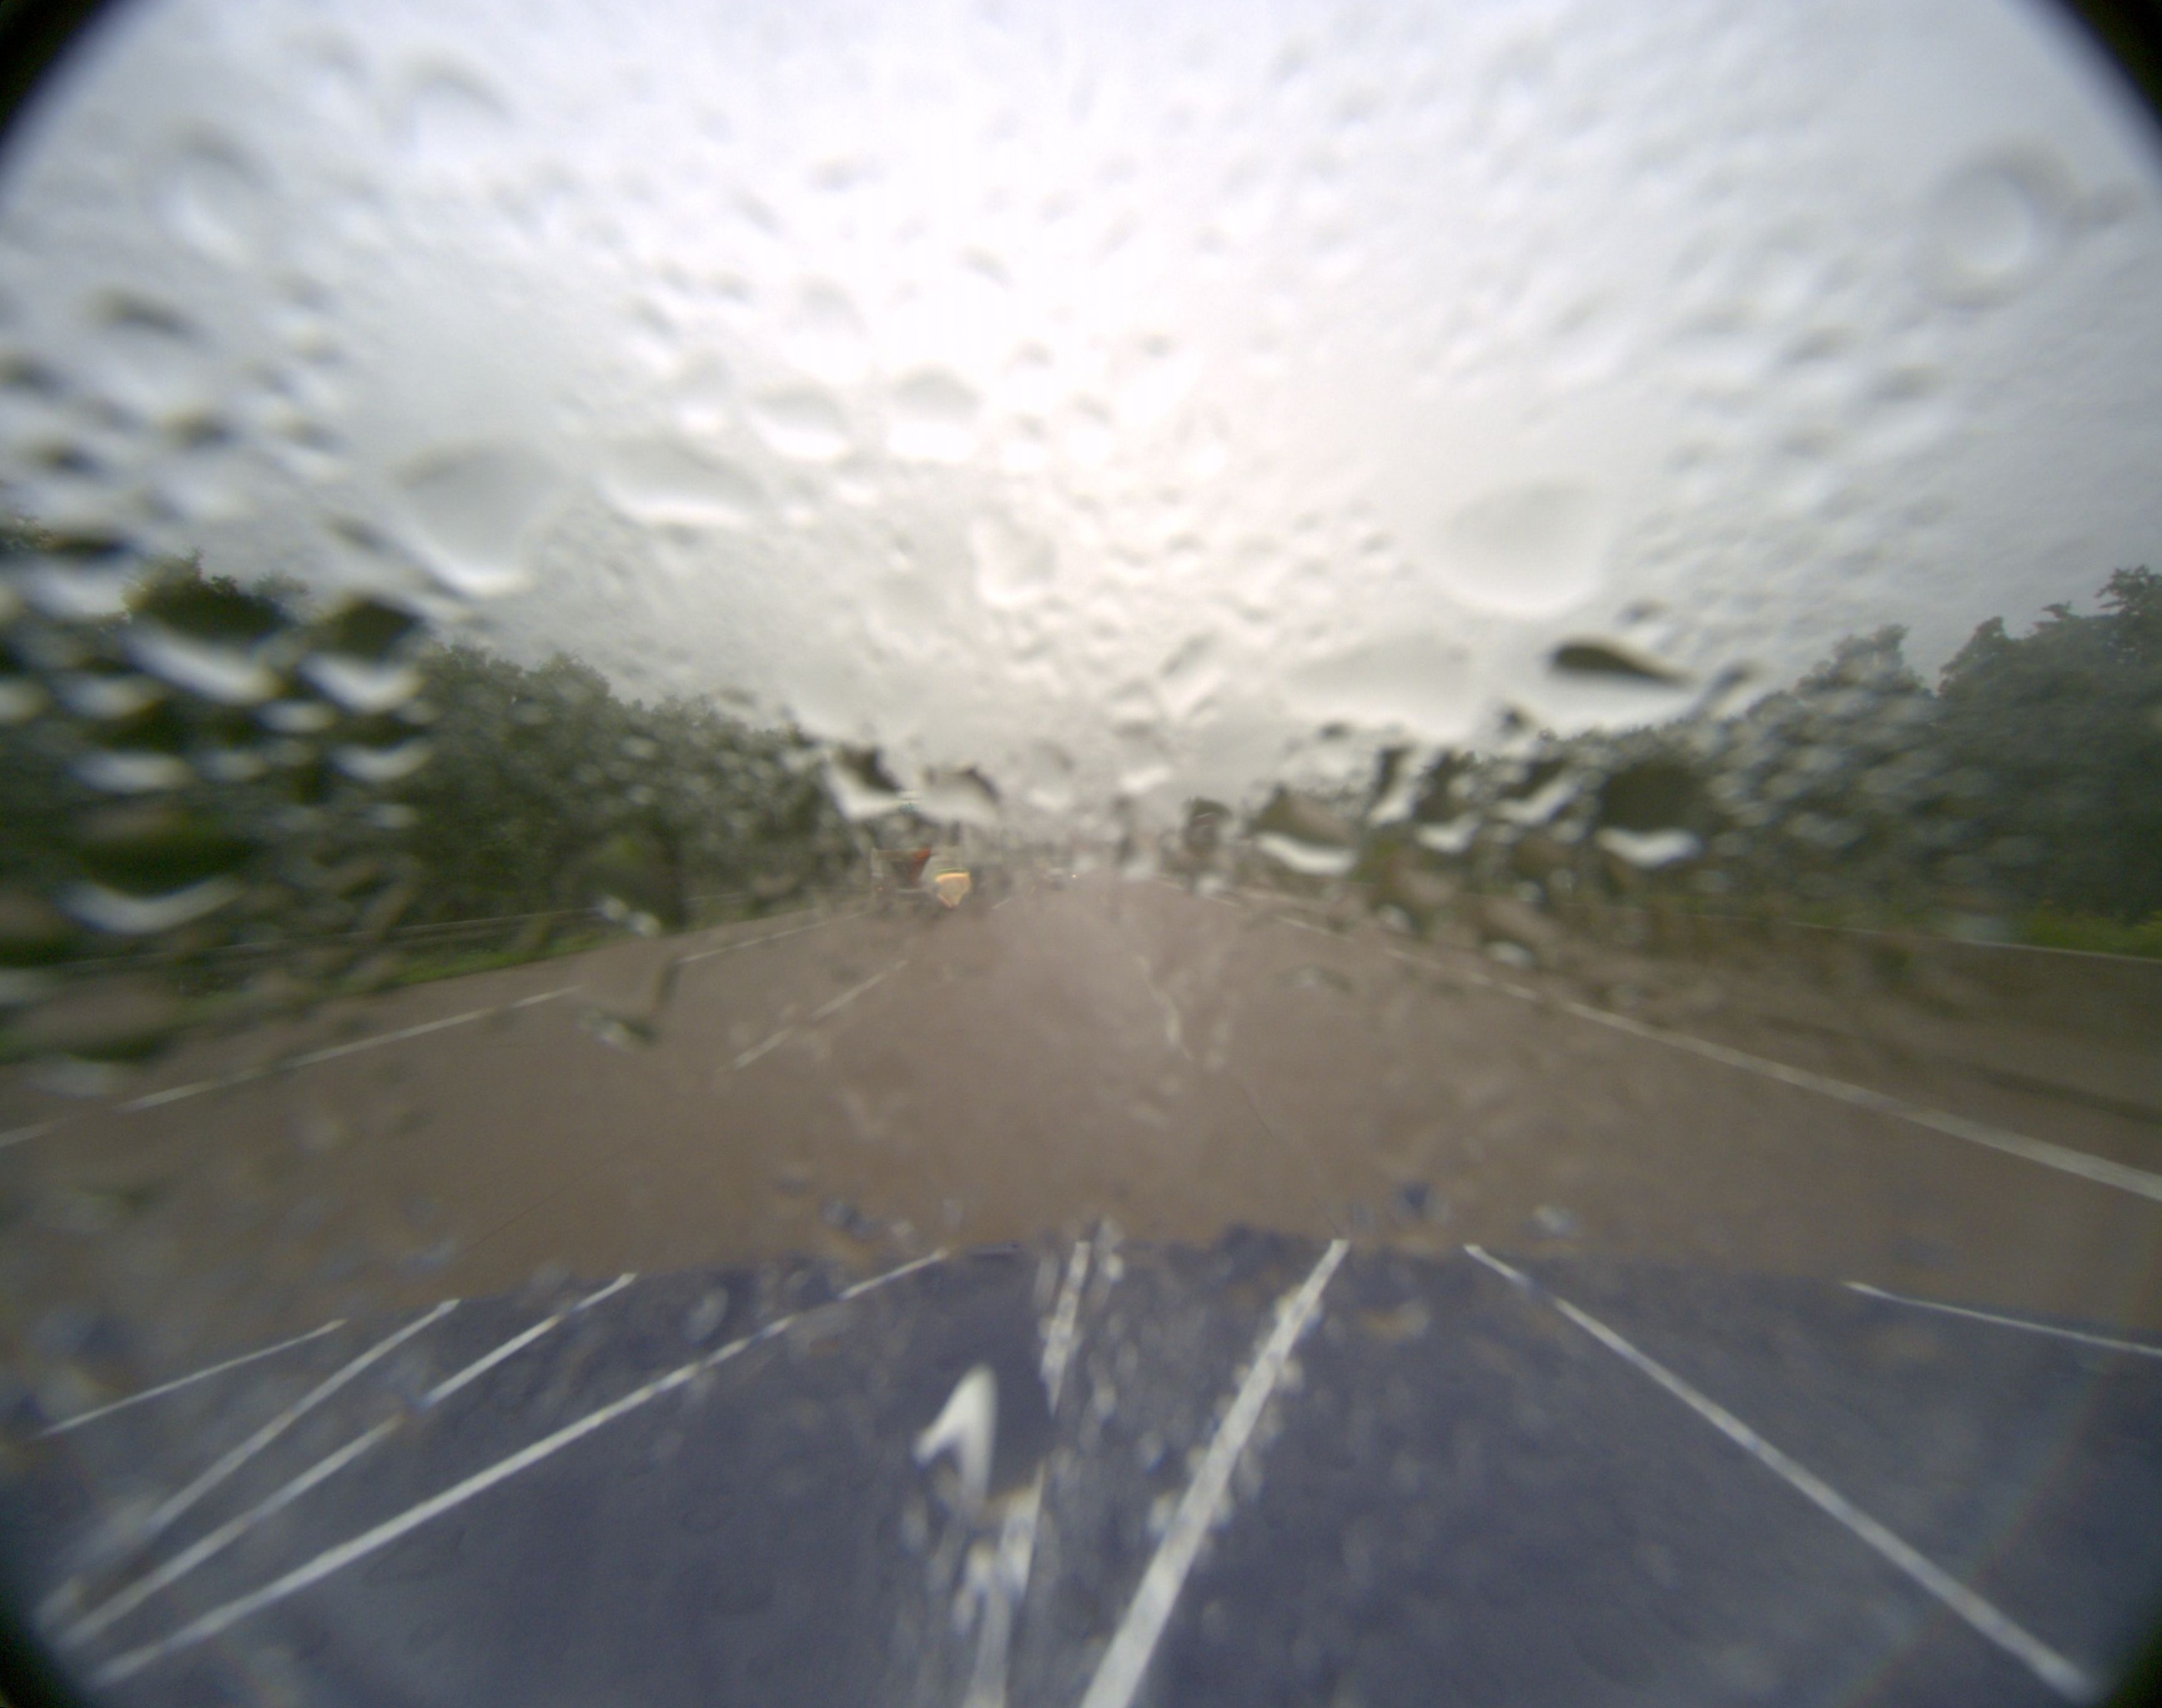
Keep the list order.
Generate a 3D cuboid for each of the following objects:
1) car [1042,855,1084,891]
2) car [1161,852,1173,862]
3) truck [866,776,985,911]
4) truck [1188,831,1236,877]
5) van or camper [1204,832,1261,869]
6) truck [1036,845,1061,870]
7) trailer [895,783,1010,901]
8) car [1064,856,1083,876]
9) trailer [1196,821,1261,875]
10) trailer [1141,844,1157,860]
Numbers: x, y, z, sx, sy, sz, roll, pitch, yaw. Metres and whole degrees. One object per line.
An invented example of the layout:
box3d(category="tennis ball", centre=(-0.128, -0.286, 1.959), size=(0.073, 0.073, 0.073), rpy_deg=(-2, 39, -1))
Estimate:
box3d(category="car", centre=(-0.829, 0.915, 38.563), size=(1.812, 1.718, 4.744), rpy_deg=(-1, 0, 2))
box3d(category="car", centre=(13.713, 0.467, 121.178), size=(1.419, 1.349, 3.084), rpy_deg=(-4, 0, 1))
box3d(category="truck", centre=(-5.115, -0.281, 26.184), size=(2.888, 4.082, 6.349), rpy_deg=(0, -1, -1))
box3d(category="truck", centre=(15.183, 0.029, 89.185), size=(3.935, 4.985, 8.951), rpy_deg=(-2, 0, 0))
box3d(category="van or camper", centre=(11.357, -0.260, 57.599), size=(2.797, 2.391, 6.488), rpy_deg=(-4, 0, -1))
box3d(category="truck", centre=(-5.011, 0.544, 118.971), size=(3.242, 3.708, 7.955), rpy_deg=(-2, 0, 1))
box3d(category="trailer", centre=(-5.160, -0.339, 33.523), size=(2.860, 4.206, 13.132), rpy_deg=(0, -1, 0))
box3d(category="car", centre=(-0.860, 1.359, 88.071), size=(1.999, 2.002, 4.277), rpy_deg=(-5, 0, -1))
box3d(category="trailer", centre=(15.206, -0.629, 79.992), size=(4.001, 5.030, 14.236), rpy_deg=(-2, 0, 0))
box3d(category="trailer", centre=(19.076, -0.553, 214.734), size=(3.439, 4.439, 12.447), rpy_deg=(0, -1, 0))
